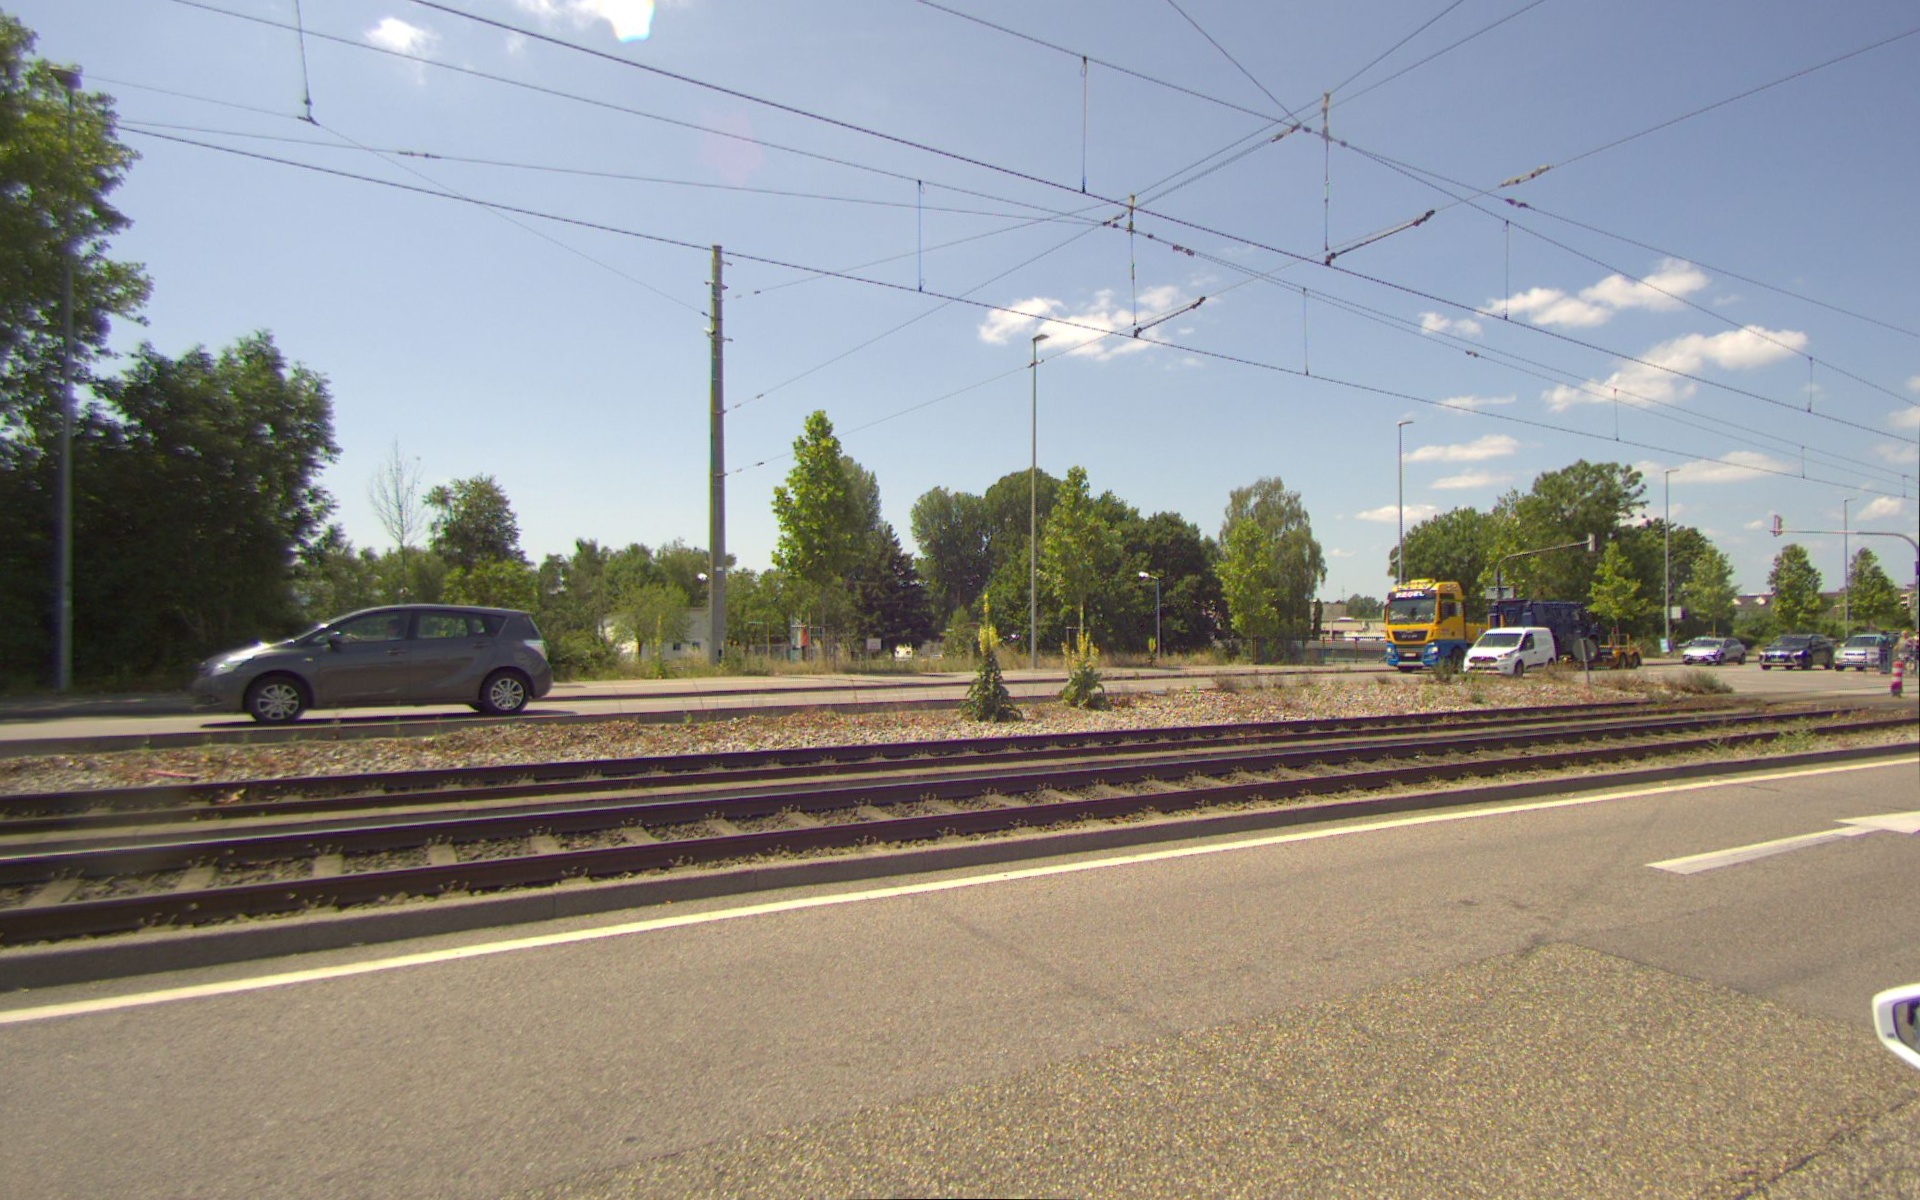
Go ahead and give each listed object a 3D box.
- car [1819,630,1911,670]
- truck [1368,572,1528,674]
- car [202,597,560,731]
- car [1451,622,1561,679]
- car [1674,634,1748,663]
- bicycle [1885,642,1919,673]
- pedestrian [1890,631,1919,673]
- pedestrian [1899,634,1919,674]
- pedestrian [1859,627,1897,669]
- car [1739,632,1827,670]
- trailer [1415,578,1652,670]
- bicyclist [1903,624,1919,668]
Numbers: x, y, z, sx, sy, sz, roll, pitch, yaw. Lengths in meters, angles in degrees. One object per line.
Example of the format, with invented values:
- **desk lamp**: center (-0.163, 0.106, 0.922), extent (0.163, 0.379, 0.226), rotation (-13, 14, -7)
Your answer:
- **car**: center (40.984, 2.243, 45.502), extent (3.953, 1.650, 1.984), rotation (1, 0, -30)
- **truck**: center (21.332, 0.963, 43.760), extent (7.400, 4.093, 3.105), rotation (1, 0, -35)
- **car**: center (-8.228, 0.852, 14.511), extent (4.223, 1.658, 1.981), rotation (1, -2, -35)
- **car**: center (19.716, 1.791, 36.206), extent (4.396, 1.863, 1.977), rotation (2, 0, -40)
- **car**: center (42.449, 2.717, 56.753), extent (4.232, 1.483, 1.982), rotation (1, 0, -33)
- **bicycle**: center (36.462, 2.191, 38.145), extent (1.951, 1.115, 0.760), rotation (1, 0, 44)
- **pedestrian**: center (38.869, 2.119, 41.317), extent (0.756, 1.694, 0.757), rotation (1, -1, -33)
- **pedestrian**: center (37.991, 2.145, 39.955), extent (0.756, 1.569, 0.757), rotation (1, -1, -33)
- **pedestrian**: center (36.582, 1.886, 40.027), extent (0.756, 1.631, 0.951), rotation (1, -1, -33)
- **car**: center (38.827, 2.374, 47.393), extent (3.953, 1.650, 1.984), rotation (1, -1, -30)
- **trailer**: center (27.741, 1.167, 47.989), extent (15.314, 3.922, 3.097), rotation (1, 0, -33)
- **bicyclist**: center (36.360, 1.756, 38.243), extent (0.657, 1.636, 0.729), rotation (1, 0, 43)
